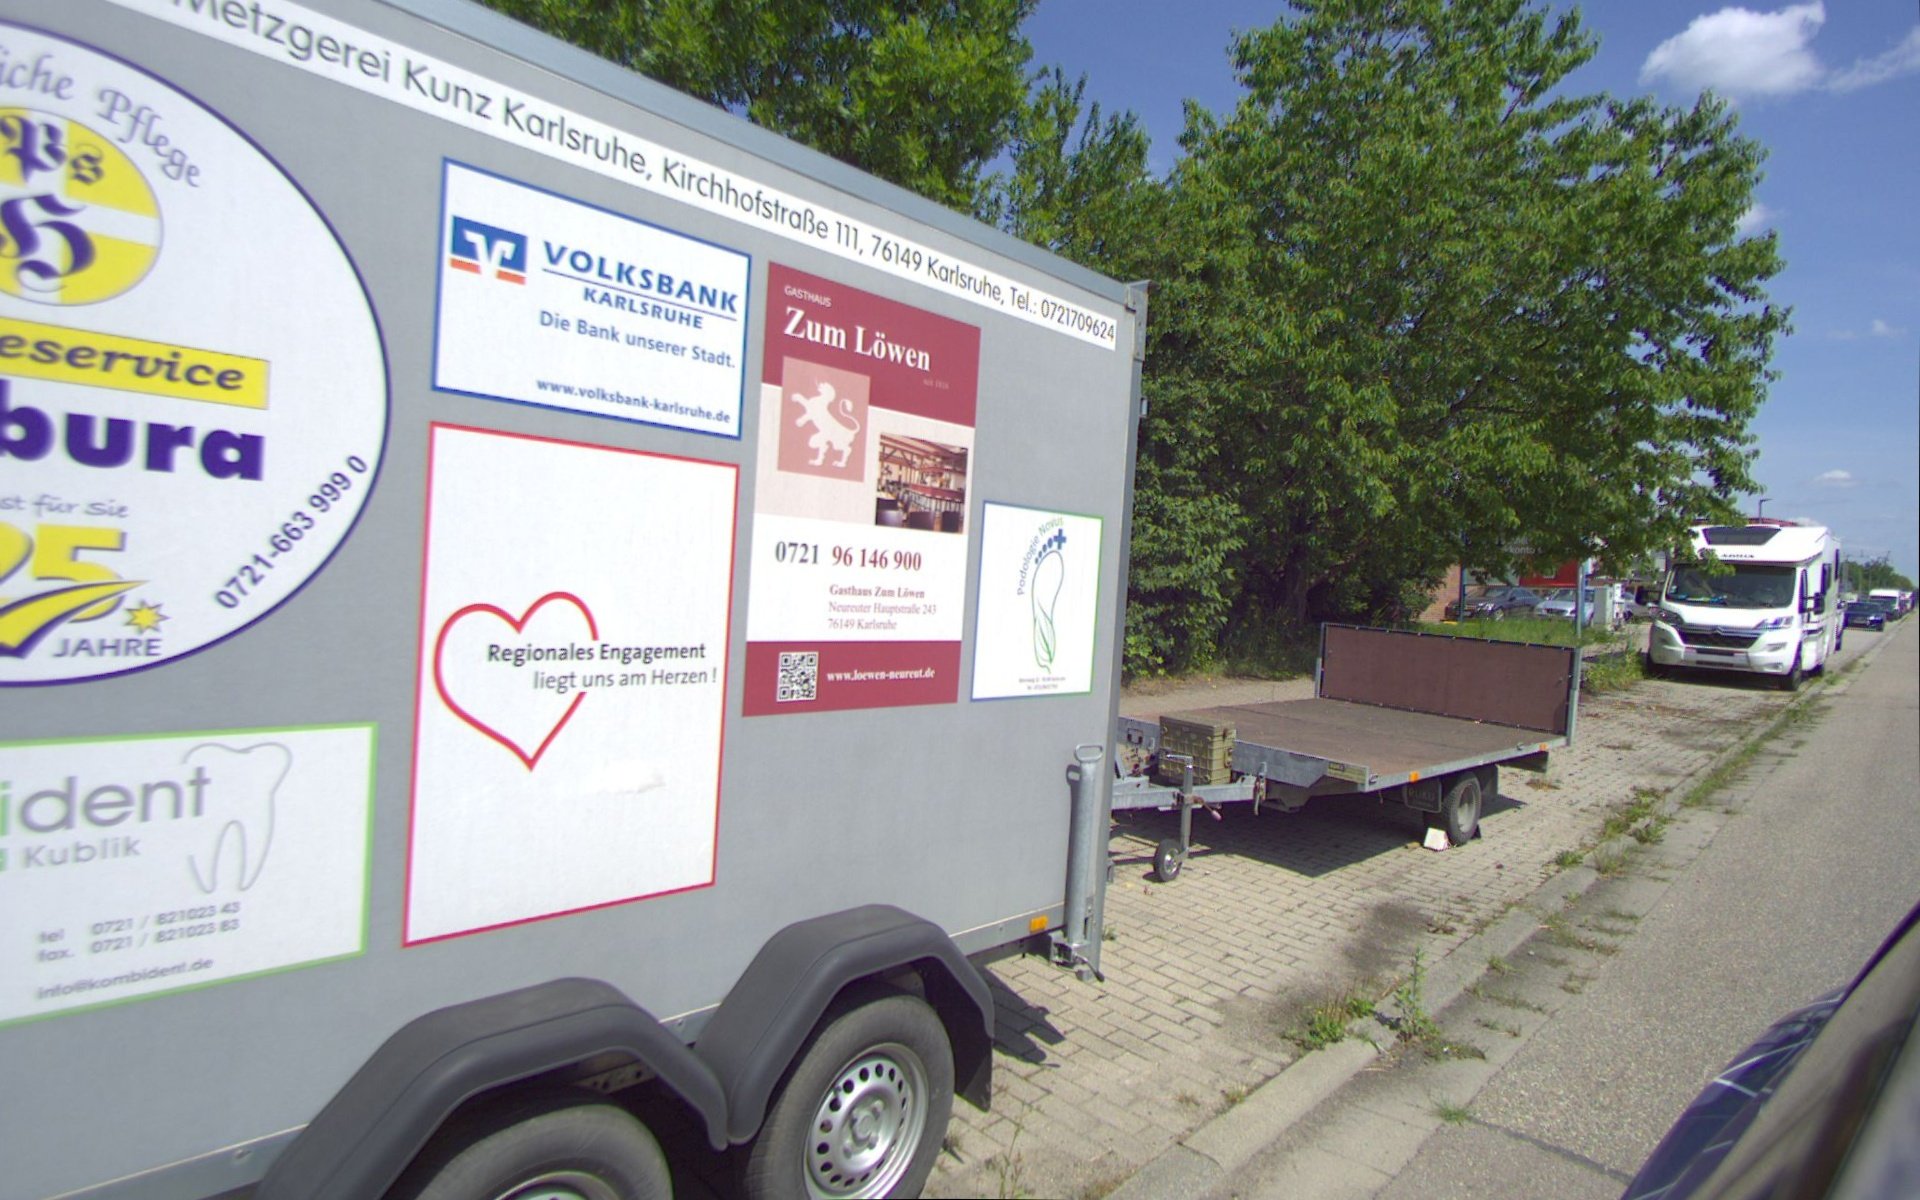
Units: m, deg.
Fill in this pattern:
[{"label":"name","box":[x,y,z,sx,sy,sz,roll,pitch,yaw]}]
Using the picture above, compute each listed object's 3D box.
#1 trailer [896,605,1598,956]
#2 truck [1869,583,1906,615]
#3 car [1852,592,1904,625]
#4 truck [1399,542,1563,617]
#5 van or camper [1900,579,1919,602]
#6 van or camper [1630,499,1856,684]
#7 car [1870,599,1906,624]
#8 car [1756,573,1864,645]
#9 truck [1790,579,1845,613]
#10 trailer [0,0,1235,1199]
[{"label":"trailer","box":[1.975,0.697,6.066,4.413,1.136,2.008,0,5,-43]},{"label":"truck","box":[79.403,-0.082,86.639,5.203,2.597,1.995,1,2,-45]},{"label":"car","box":[46.902,0.415,51.667,1.763,1.490,4.643,4,3,44]},{"label":"truck","box":[25.759,-1.080,50.272,3.048,3.430,6.482,1,2,-37]},{"label":"van or camper","box":[147.450,-1.511,156.940,2.328,3.561,4.694,0,0,44]},{"label":"van or camper","box":[15.006,-0.187,19.136,2.441,2.861,7.501,4,3,44]},{"label":"car","box":[70.440,0.866,76.798,1.802,1.723,3.936,5,3,44]},{"label":"car","box":[24.872,0.237,29.546,5.336,1.836,1.849,1,3,-45]},{"label":"truck","box":[74.591,-0.349,87.987,5.675,2.722,2.385,1,2,-37]},{"label":"trailer","box":[-1.577,0.033,2.024,1.921,2.538,4.664,6,4,45]}]
